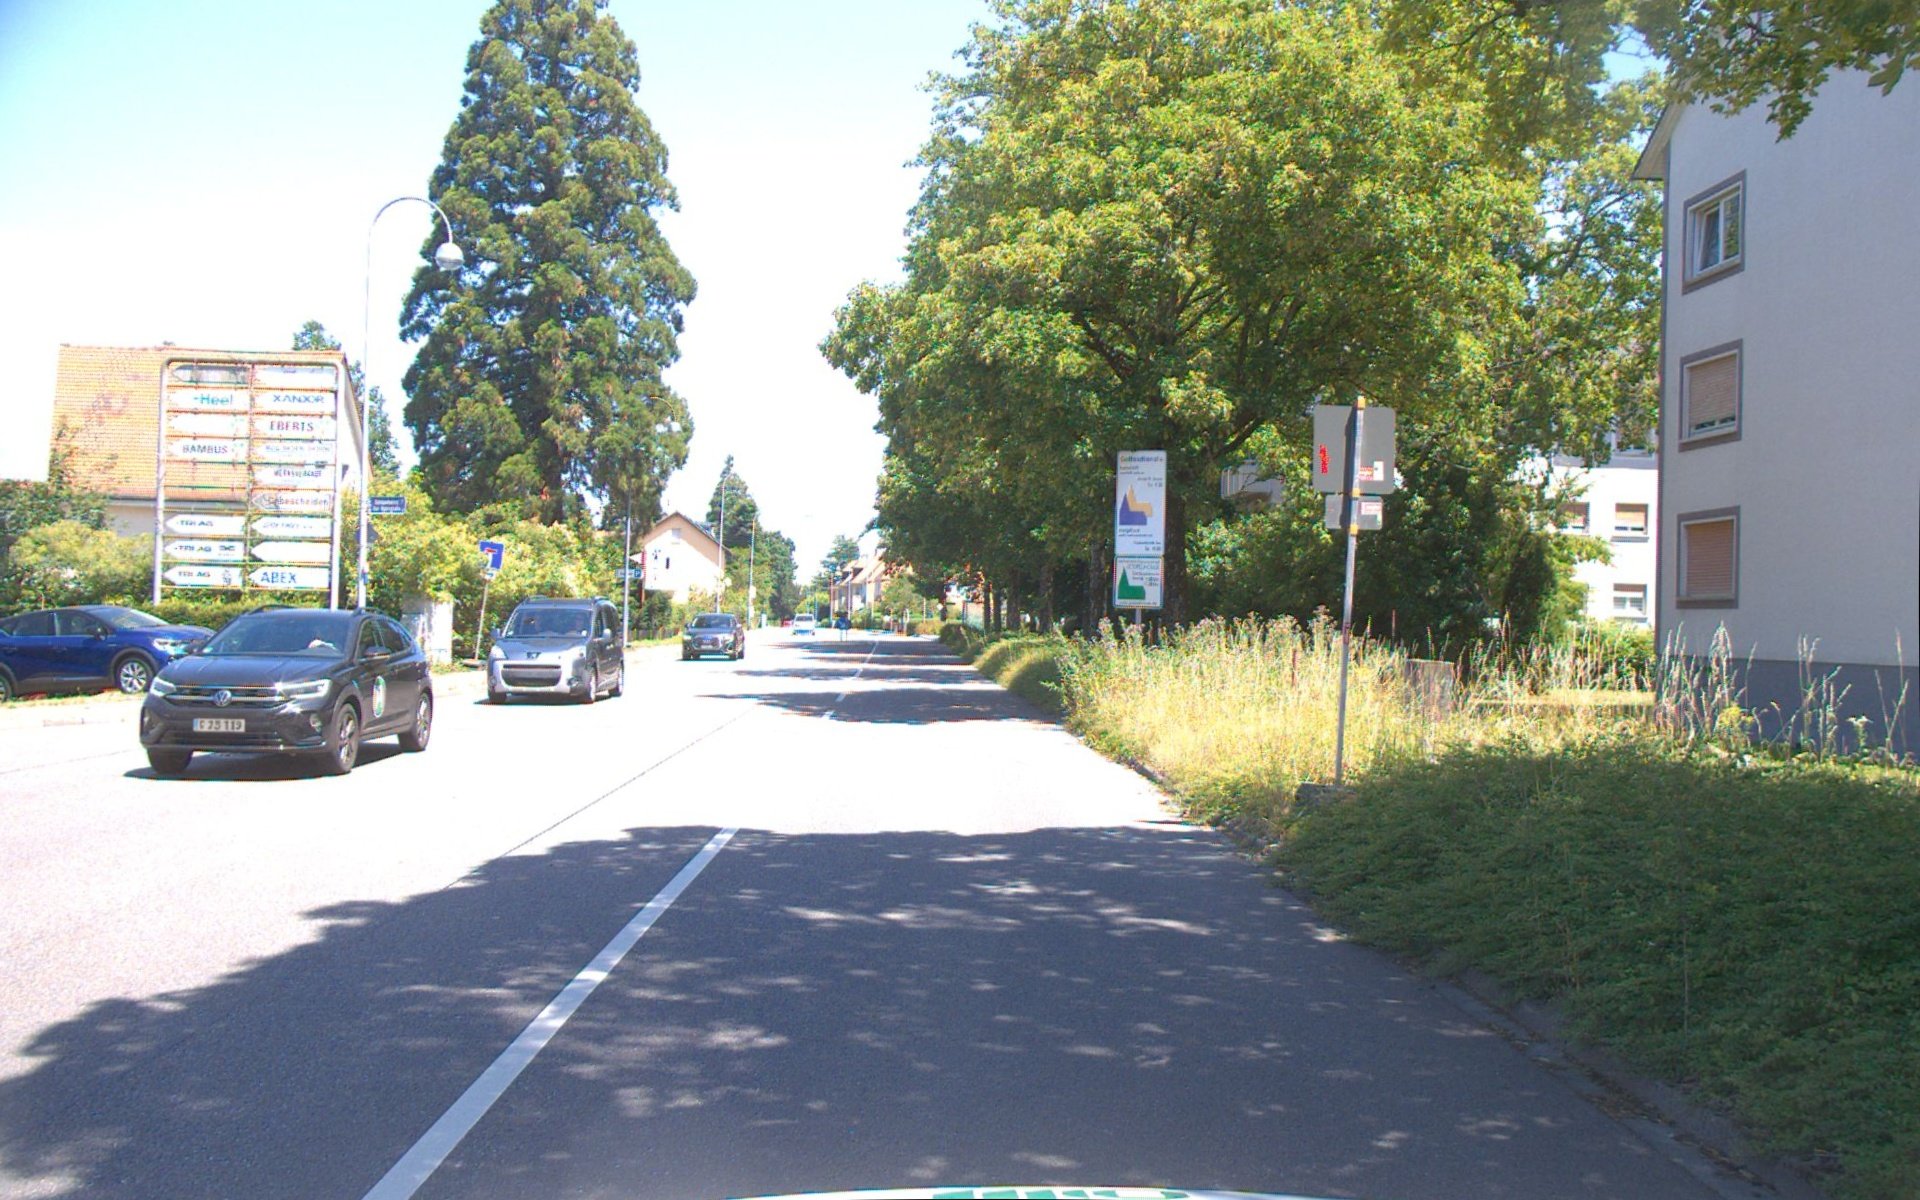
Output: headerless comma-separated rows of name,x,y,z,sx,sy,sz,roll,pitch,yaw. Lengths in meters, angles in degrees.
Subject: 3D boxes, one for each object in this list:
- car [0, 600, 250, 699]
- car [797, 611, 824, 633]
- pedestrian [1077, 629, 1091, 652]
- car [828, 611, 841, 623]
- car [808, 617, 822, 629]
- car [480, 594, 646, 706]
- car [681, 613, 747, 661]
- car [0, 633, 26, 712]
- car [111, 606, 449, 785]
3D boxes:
car,-14.271,0.792,27.682,4.046,1.531,1.779,1,-1,9
car,-11.719,1.713,129.816,1.874,1.719,4.123,0,-1,-3
pedestrian,6.577,2.136,87.787,0.689,1.180,0.754,1,-1,2
car,-19.386,2.598,256.414,1.778,1.748,3.999,1,-1,-1
car,-22.450,3.592,256.156,1.778,1.748,3.999,1,-1,-1
car,-6.817,0.856,28.889,1.774,1.793,4.569,0,-1,0
car,-8.379,1.245,56.626,1.757,1.563,4.313,1,-1,-2
car,-19.032,1.284,29.225,1.645,1.417,4.078,1,-1,37
car,-6.471,0.845,16.269,1.832,1.533,4.050,0,-1,-3
